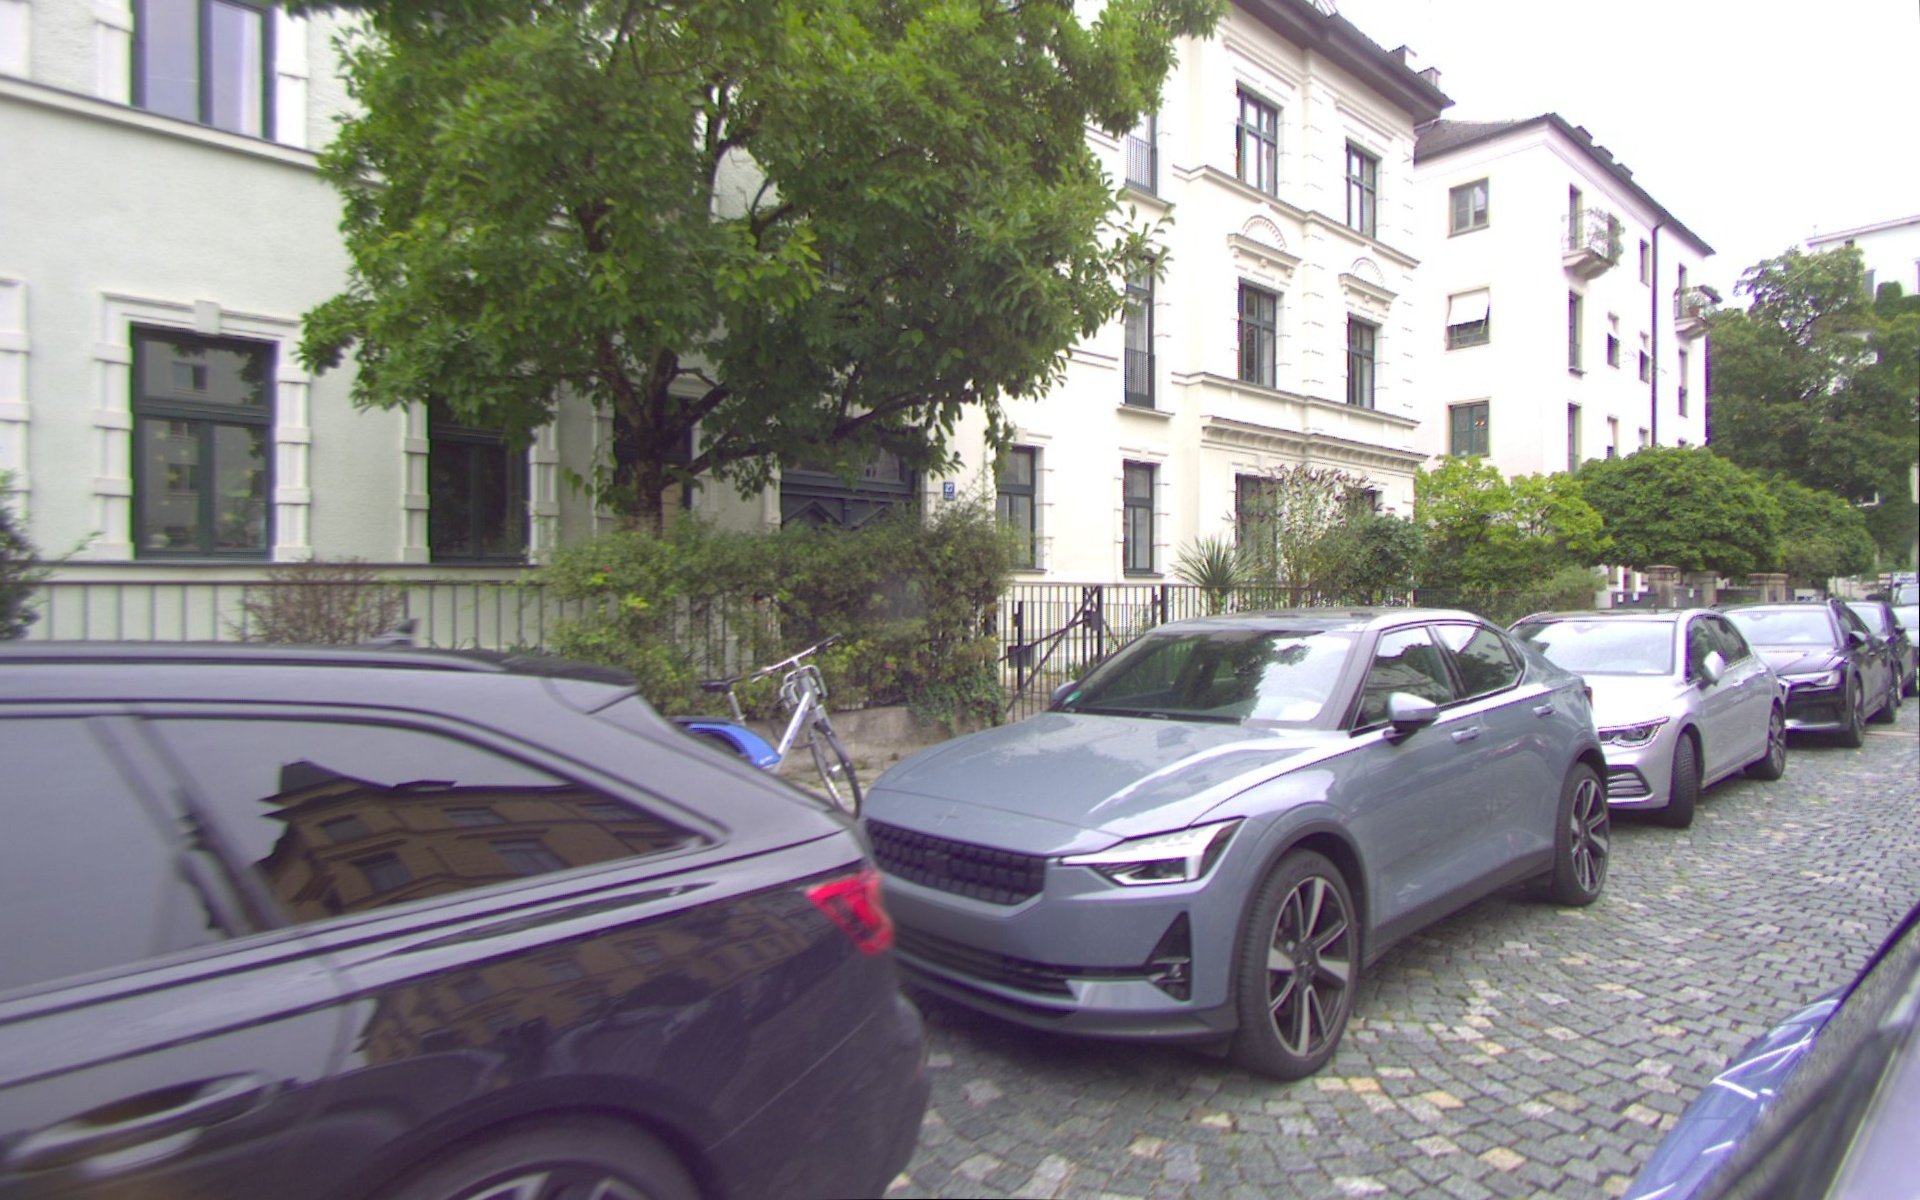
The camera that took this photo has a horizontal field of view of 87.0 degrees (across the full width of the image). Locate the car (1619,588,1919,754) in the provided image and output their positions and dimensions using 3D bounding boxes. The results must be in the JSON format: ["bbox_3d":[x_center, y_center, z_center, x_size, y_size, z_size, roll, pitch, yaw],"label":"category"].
[{"bbox_3d":[9.616,0.674,11.734,5.015,1.522,1.907,-1,-2,-40],"label":"car"}]

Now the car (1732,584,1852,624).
[{"bbox_3d":[37.794,0.196,46.037,1.868,1.702,3.990,-1,-1,-43],"label":"car"}]

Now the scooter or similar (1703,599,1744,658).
[{"bbox_3d":[17.393,0.633,23.046,1.447,1.230,0.443,-1,6,-44],"label":"scooter or similar"}]

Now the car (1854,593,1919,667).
[{"bbox_3d":[20.922,0.584,21.653,4.450,1.484,1.941,-1,-1,-39],"label":"car"}]

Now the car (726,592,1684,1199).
[{"bbox_3d":[1.512,0.762,4.711,4.729,1.508,1.885,-1,-2,-40],"label":"car"}]

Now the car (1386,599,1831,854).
[{"bbox_3d":[5.373,0.785,8.136,4.401,1.478,1.758,-1,-2,-40],"label":"car"}]

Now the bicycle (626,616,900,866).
[{"bbox_3d":[-1.075,0.711,5.866,0.578,1.210,1.627,-1,0,35],"label":"bicycle"}]

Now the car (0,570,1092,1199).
[{"bbox_3d":[-2.202,0.765,1.289,4.960,1.508,1.821,-1,-2,-40],"label":"car"}]

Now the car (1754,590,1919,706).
[{"bbox_3d":[13.444,0.651,15.235,3.622,1.528,1.669,-1,-2,-41],"label":"car"}]

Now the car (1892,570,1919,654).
[{"bbox_3d":[25.022,0.230,25.330,4.882,1.995,1.996,-1,-2,-42],"label":"car"}]
